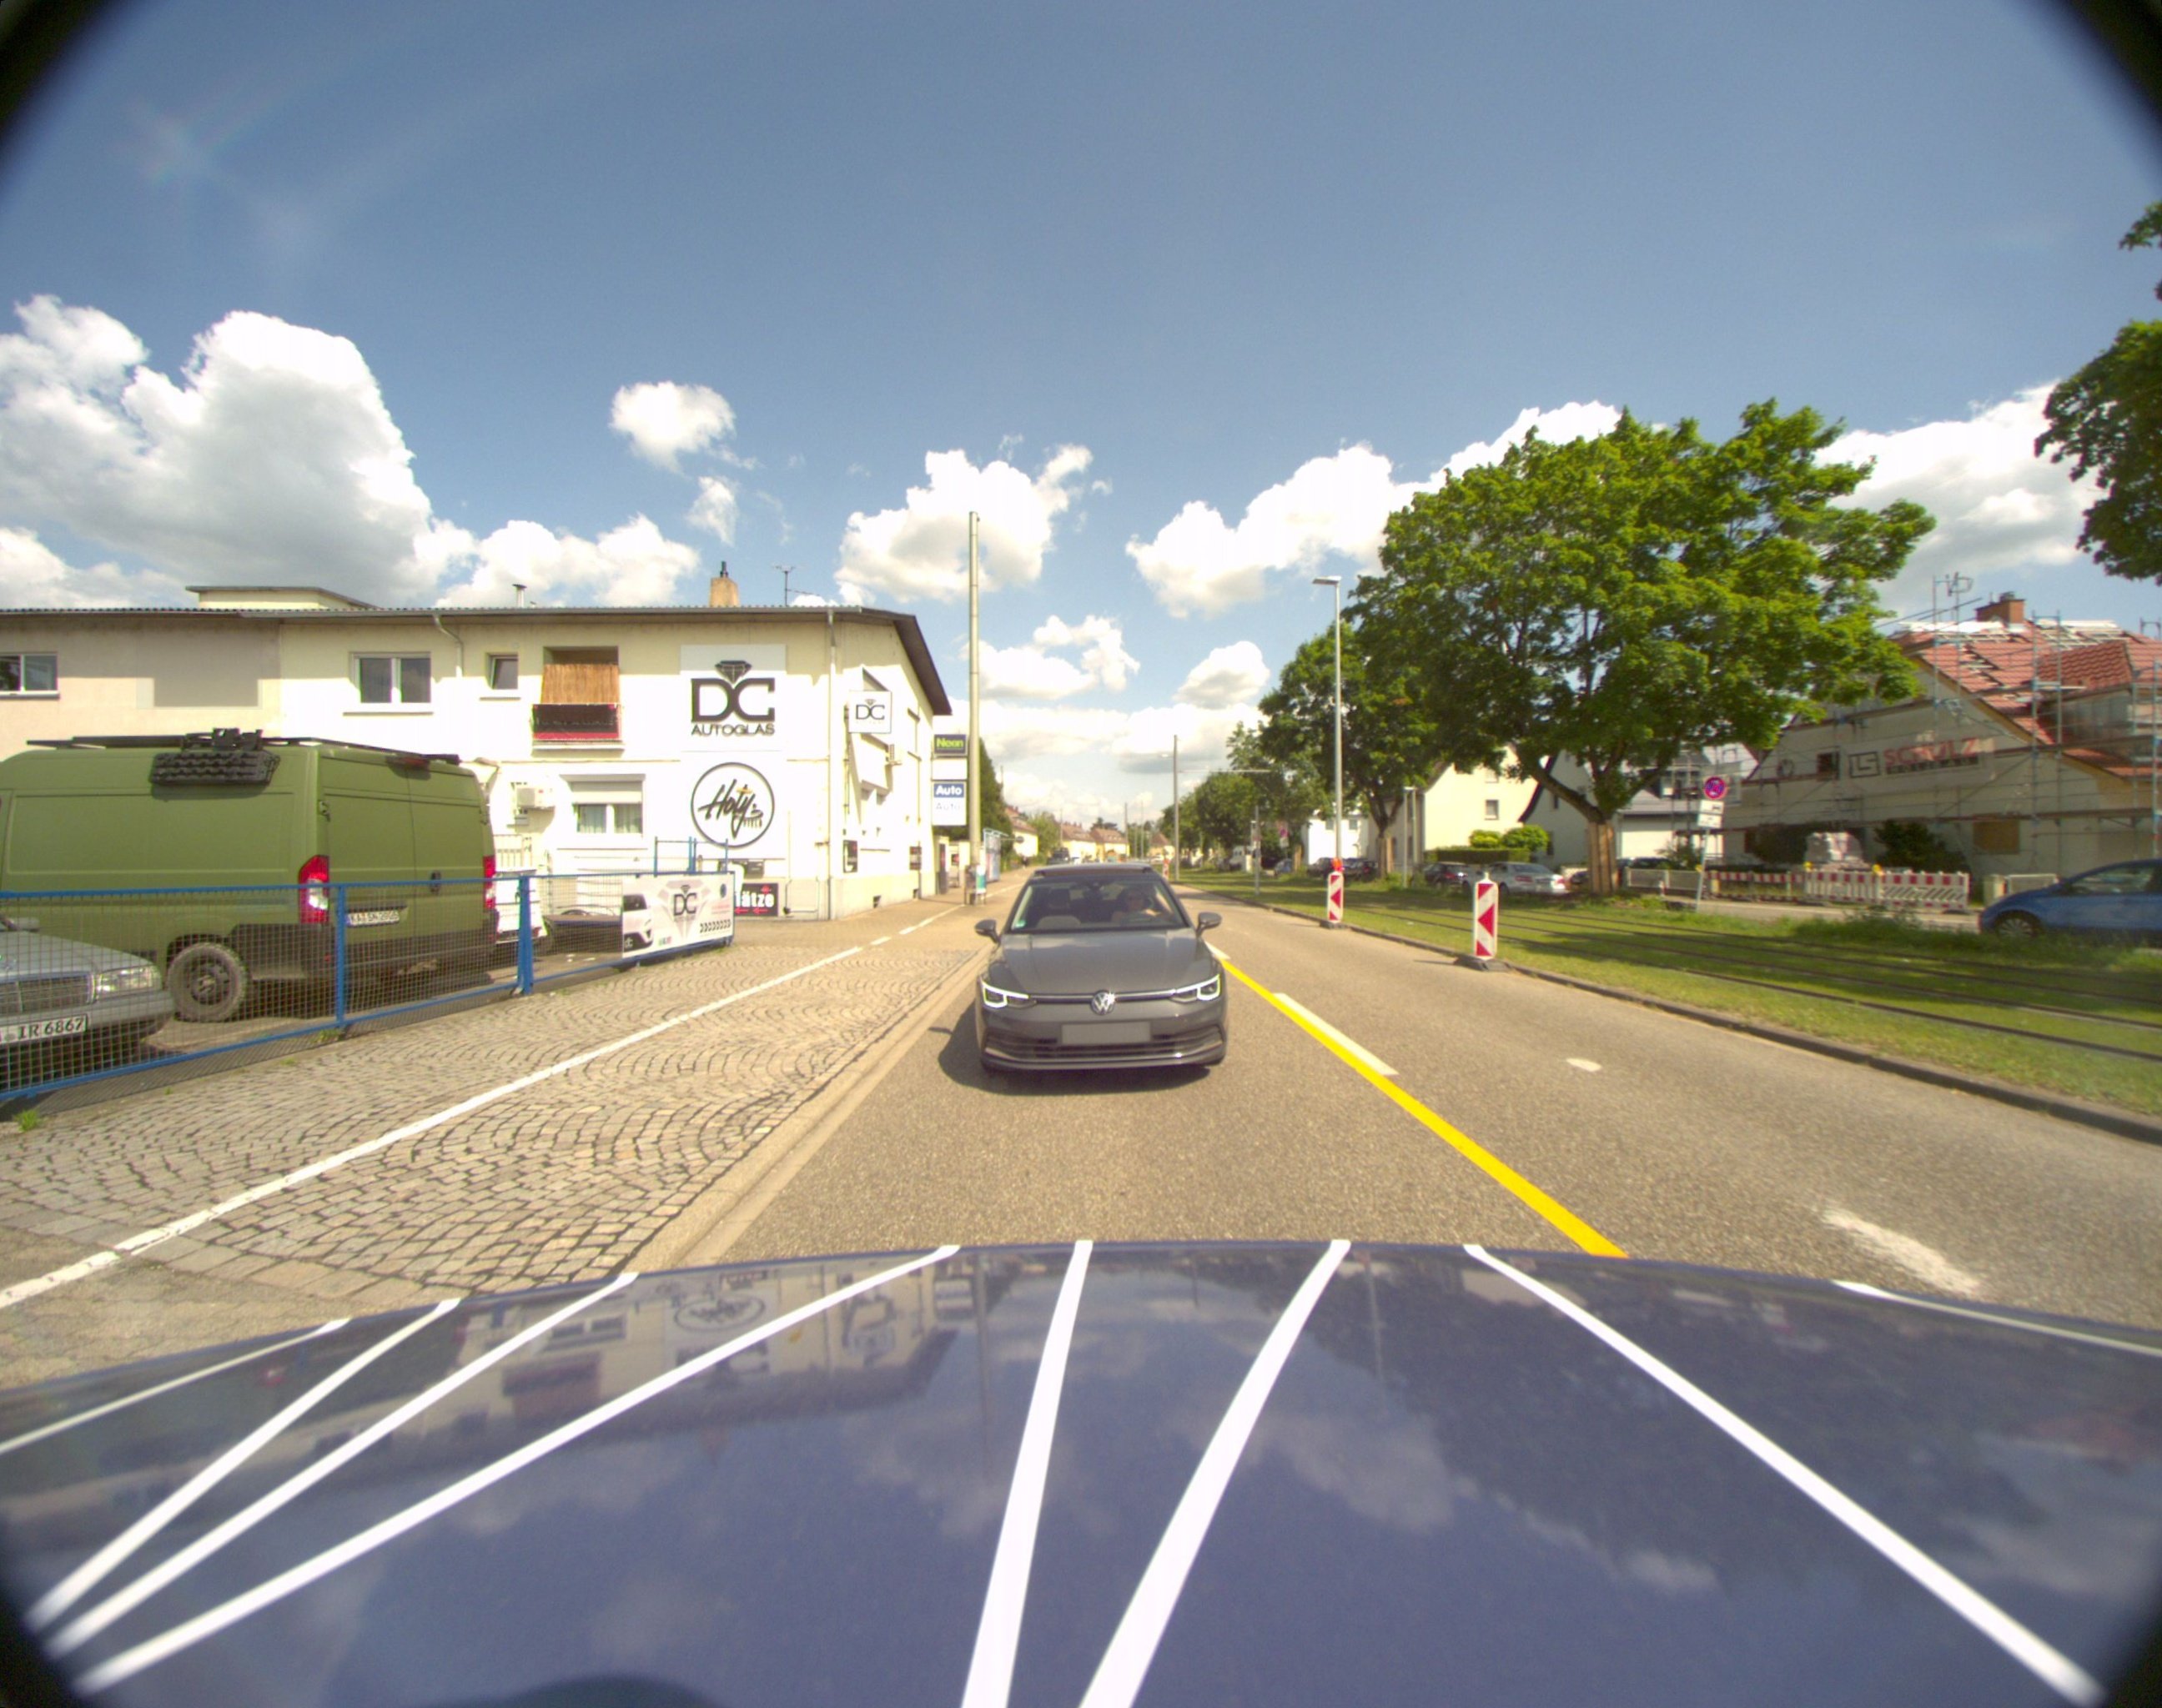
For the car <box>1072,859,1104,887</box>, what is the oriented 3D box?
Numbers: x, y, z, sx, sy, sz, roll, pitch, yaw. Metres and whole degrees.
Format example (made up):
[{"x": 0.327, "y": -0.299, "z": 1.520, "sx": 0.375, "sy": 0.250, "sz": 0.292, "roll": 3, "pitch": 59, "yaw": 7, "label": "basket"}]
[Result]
[{"x": 0.392, "y": 1.023, "z": 42.084, "sx": 1.719, "sy": 1.470, "sz": 4.009, "roll": 0, "pitch": 0, "yaw": 1, "label": "car"}]

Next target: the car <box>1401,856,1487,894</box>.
[{"x": 16.591, "y": 0.913, "z": 35.029, "sx": 1.755, "sy": 1.602, "sz": 4.606, "roll": 0, "pitch": 0, "yaw": 0, "label": "car"}]

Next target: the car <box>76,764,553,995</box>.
[{"x": -9.454, "y": 0.298, "z": 9.652, "sx": 4.209, "sy": 2.653, "sz": 1.803, "roll": 0, "pitch": 0, "yaw": 0, "label": "car"}]

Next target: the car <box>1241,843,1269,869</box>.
[{"x": 17.648, "y": 0.194, "z": 77.093, "sx": 1.755, "sy": 2.601, "sz": 4.606, "roll": 0, "pitch": 0, "yaw": 0, "label": "car"}]

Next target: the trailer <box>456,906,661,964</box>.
[{"x": -8.061, "y": 1.234, "z": 11.837, "sx": 2.329, "sy": 0.762, "sz": 1.269, "roll": 0, "pitch": 0, "yaw": 2, "label": "trailer"}]

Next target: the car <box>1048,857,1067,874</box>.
[{"x": -2.158, "y": 1.064, "z": 70.987, "sx": 1.720, "sy": 1.470, "sz": 4.009, "roll": 0, "pitch": 0, "yaw": 0, "label": "car"}]

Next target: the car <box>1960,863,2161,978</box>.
[{"x": 16.224, "y": 0.954, "z": 11.232, "sx": 1.755, "sy": 1.602, "sz": 4.050, "roll": 0, "pitch": 0, "yaw": 0, "label": "car"}]

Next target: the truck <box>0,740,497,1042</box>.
[{"x": -8.623, "y": 0.324, "z": 7.567, "sx": 3.997, "sy": 2.592, "sz": 2.069, "roll": 0, "pitch": 0, "yaw": 1, "label": "truck"}]

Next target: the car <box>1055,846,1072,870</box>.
[{"x": -1.915, "y": 0.409, "z": 82.849, "sx": 1.720, "sy": 2.526, "sz": 5.794, "roll": 0, "pitch": 0, "yaw": 0, "label": "car"}]

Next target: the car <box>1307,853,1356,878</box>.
[{"x": 16.681, "y": 0.760, "z": 50.907, "sx": 1.755, "sy": 1.602, "sz": 4.606, "roll": 0, "pitch": 0, "yaw": 0, "label": "car"}]

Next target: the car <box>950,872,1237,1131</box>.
[{"x": 0.100, "y": 0.933, "z": 6.561, "sx": 1.719, "sy": 1.470, "sz": 4.009, "roll": 0, "pitch": 0, "yaw": 1, "label": "car"}]

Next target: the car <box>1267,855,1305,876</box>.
[{"x": 16.497, "y": 0.914, "z": 61.356, "sx": 1.755, "sy": 1.602, "sz": 4.606, "roll": 0, "pitch": 0, "yaw": 0, "label": "car"}]

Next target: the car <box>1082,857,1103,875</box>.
[{"x": 1.001, "y": 1.026, "z": 65.253, "sx": 1.787, "sy": 1.470, "sz": 4.009, "roll": 0, "pitch": 0, "yaw": 1, "label": "car"}]

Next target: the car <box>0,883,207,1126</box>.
[{"x": -8.436, "y": 0.914, "z": 4.810, "sx": 4.206, "sy": 1.388, "sz": 1.804, "roll": 0, "pitch": 0, "yaw": 8, "label": "car"}]

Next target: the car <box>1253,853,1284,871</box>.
[{"x": 17.587, "y": 0.753, "z": 71.496, "sx": 1.755, "sy": 1.602, "sz": 4.606, "roll": 0, "pitch": 0, "yaw": 0, "label": "car"}]

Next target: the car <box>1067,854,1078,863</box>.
[{"x": -1.360, "y": 0.738, "z": 122.959, "sx": 1.720, "sy": 1.470, "sz": 4.009, "roll": 0, "pitch": 0, "yaw": 0, "label": "car"}]

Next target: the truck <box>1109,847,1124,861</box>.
[{"x": 9.413, "y": 0.024, "z": 201.135, "sx": 2.590, "sy": 3.431, "sz": 8.585, "roll": 0, "pitch": 0, "yaw": 11, "label": "truck"}]

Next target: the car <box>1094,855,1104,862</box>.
[{"x": 4.112, "y": 0.997, "z": 172.736, "sx": 1.718, "sy": 1.470, "sz": 4.011, "roll": 0, "pitch": 0, "yaw": 8, "label": "car"}]

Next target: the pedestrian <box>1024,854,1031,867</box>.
[{"x": -6.437, "y": 0.771, "z": 91.461, "sx": 0.816, "sy": 1.577, "sz": 0.918, "roll": 0, "pitch": 0, "yaw": 1, "label": "pedestrian"}]

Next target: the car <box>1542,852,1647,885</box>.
[{"x": 25.513, "y": 0.716, "z": 37.832, "sx": 4.047, "sy": 1.602, "sz": 1.757, "roll": 0, "pitch": 0, "yaw": 1, "label": "car"}]

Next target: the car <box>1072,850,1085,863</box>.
[{"x": -0.424, "y": 0.400, "z": 136.323, "sx": 1.719, "sy": 2.360, "sz": 5.211, "roll": 0, "pitch": 0, "yaw": 5, "label": "car"}]

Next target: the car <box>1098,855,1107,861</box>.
[{"x": 5.184, "y": 0.999, "z": 179.086, "sx": 1.718, "sy": 1.470, "sz": 4.011, "roll": 0, "pitch": 0, "yaw": 8, "label": "car"}]

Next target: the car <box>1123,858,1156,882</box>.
[{"x": 3.702, "y": 1.002, "z": 48.828, "sx": 1.755, "sy": 1.405, "sz": 4.261, "roll": 0, "pitch": 0, "yaw": 0, "label": "car"}]

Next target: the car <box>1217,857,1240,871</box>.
[{"x": 16.935, "y": 1.150, "z": 87.270, "sx": 1.755, "sy": 1.602, "sz": 4.606, "roll": 0, "pitch": 0, "yaw": 0, "label": "car"}]

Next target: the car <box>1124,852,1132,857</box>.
[{"x": 13.540, "y": 0.238, "z": 218.477, "sx": 1.718, "sy": 1.470, "sz": 4.013, "roll": 0, "pitch": 0, "yaw": 13, "label": "car"}]

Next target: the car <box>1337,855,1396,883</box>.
[{"x": 16.902, "y": 0.847, "z": 45.267, "sx": 1.755, "sy": 1.602, "sz": 4.606, "roll": 0, "pitch": 0, "yaw": 0, "label": "car"}]

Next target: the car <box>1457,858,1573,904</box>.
[{"x": 16.390, "y": 0.961, "z": 29.007, "sx": 1.755, "sy": 1.602, "sz": 4.606, "roll": 0, "pitch": 0, "yaw": 0, "label": "car"}]
